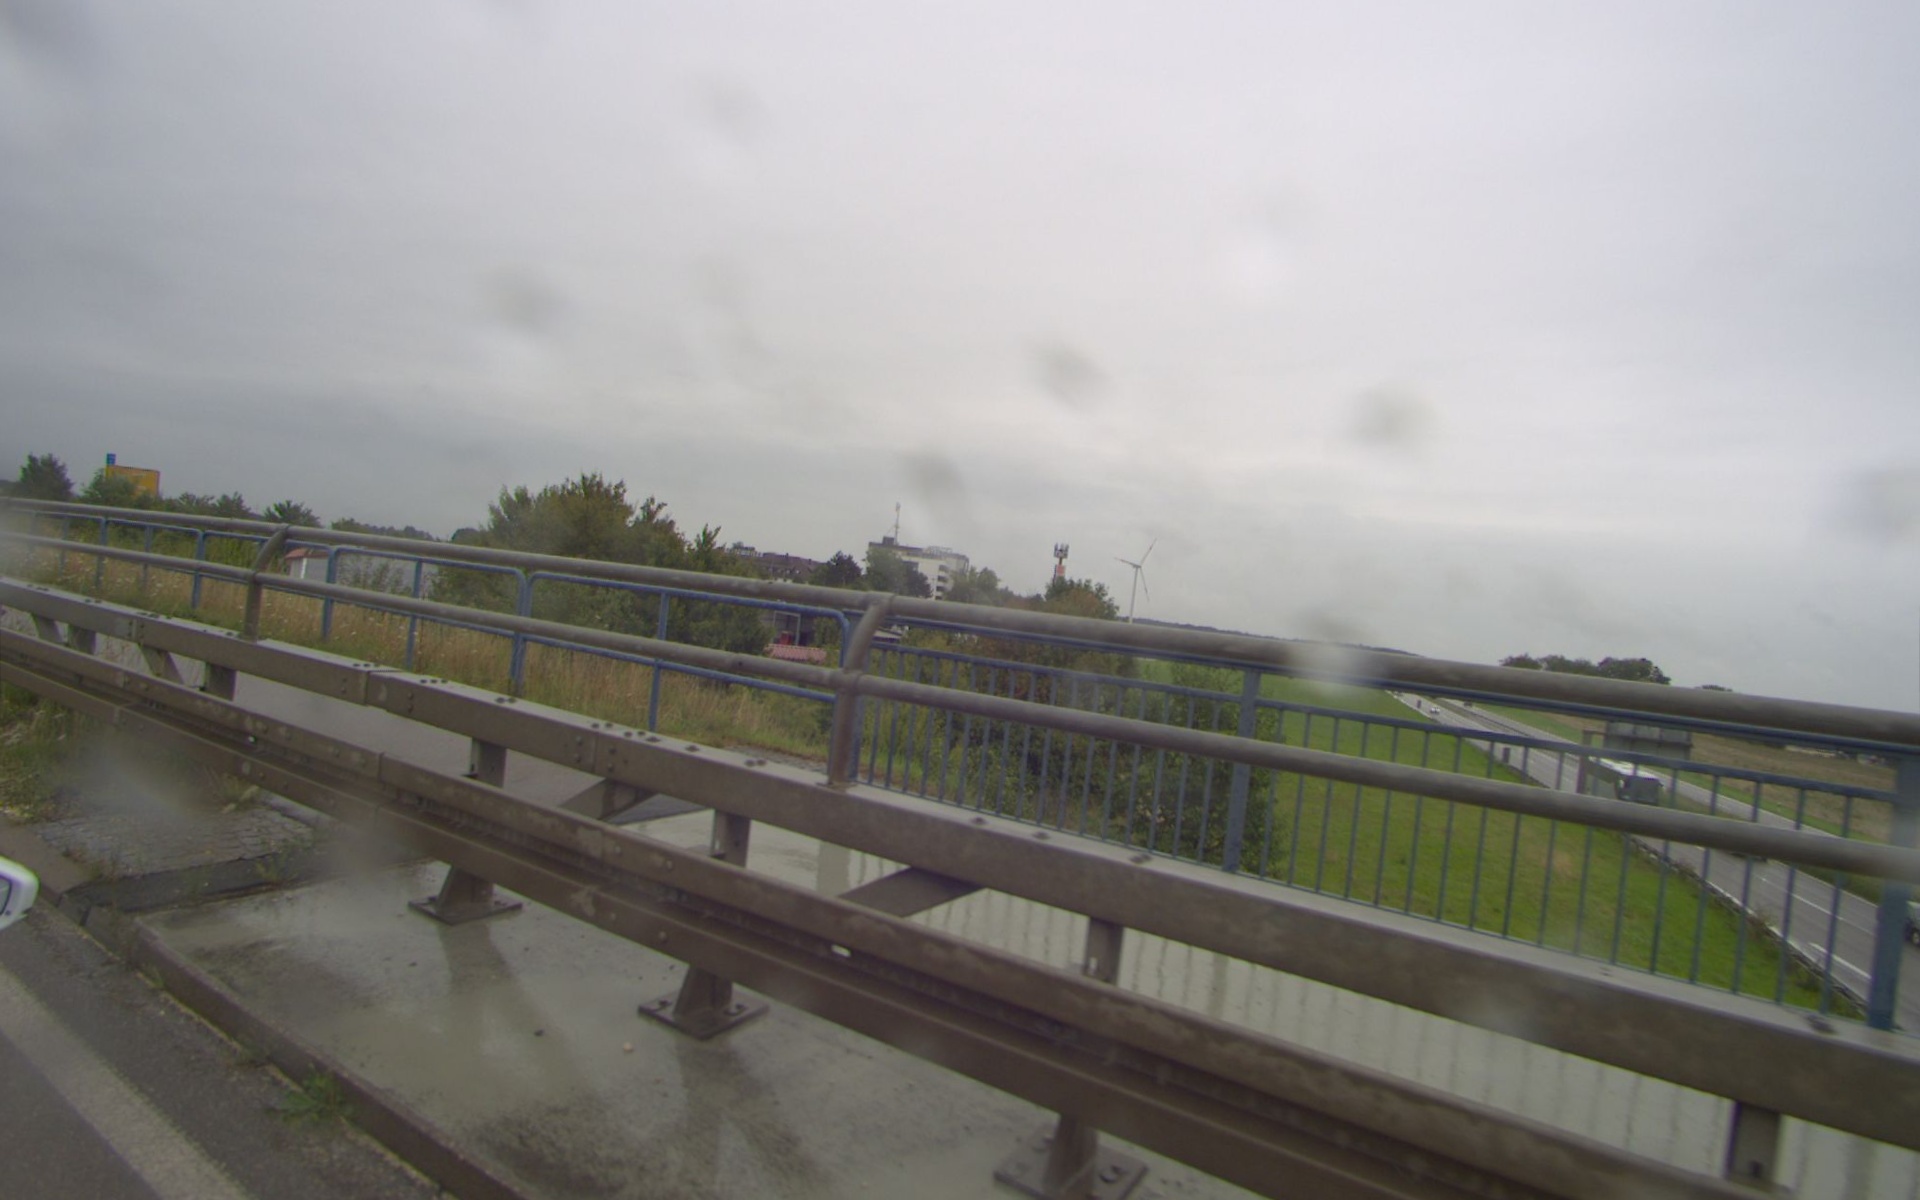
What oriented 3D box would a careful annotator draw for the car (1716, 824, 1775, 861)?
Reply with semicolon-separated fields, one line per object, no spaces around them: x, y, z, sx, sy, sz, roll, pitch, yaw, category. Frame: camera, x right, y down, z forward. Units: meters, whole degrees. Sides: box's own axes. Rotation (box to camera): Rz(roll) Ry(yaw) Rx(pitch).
49.063;15.139;62.934;1.646;1.368;4.001;7;-1;21;car

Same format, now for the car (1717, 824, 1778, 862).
49.553;15.257;63.384;1.646;1.368;4.001;7;-1;19;car
